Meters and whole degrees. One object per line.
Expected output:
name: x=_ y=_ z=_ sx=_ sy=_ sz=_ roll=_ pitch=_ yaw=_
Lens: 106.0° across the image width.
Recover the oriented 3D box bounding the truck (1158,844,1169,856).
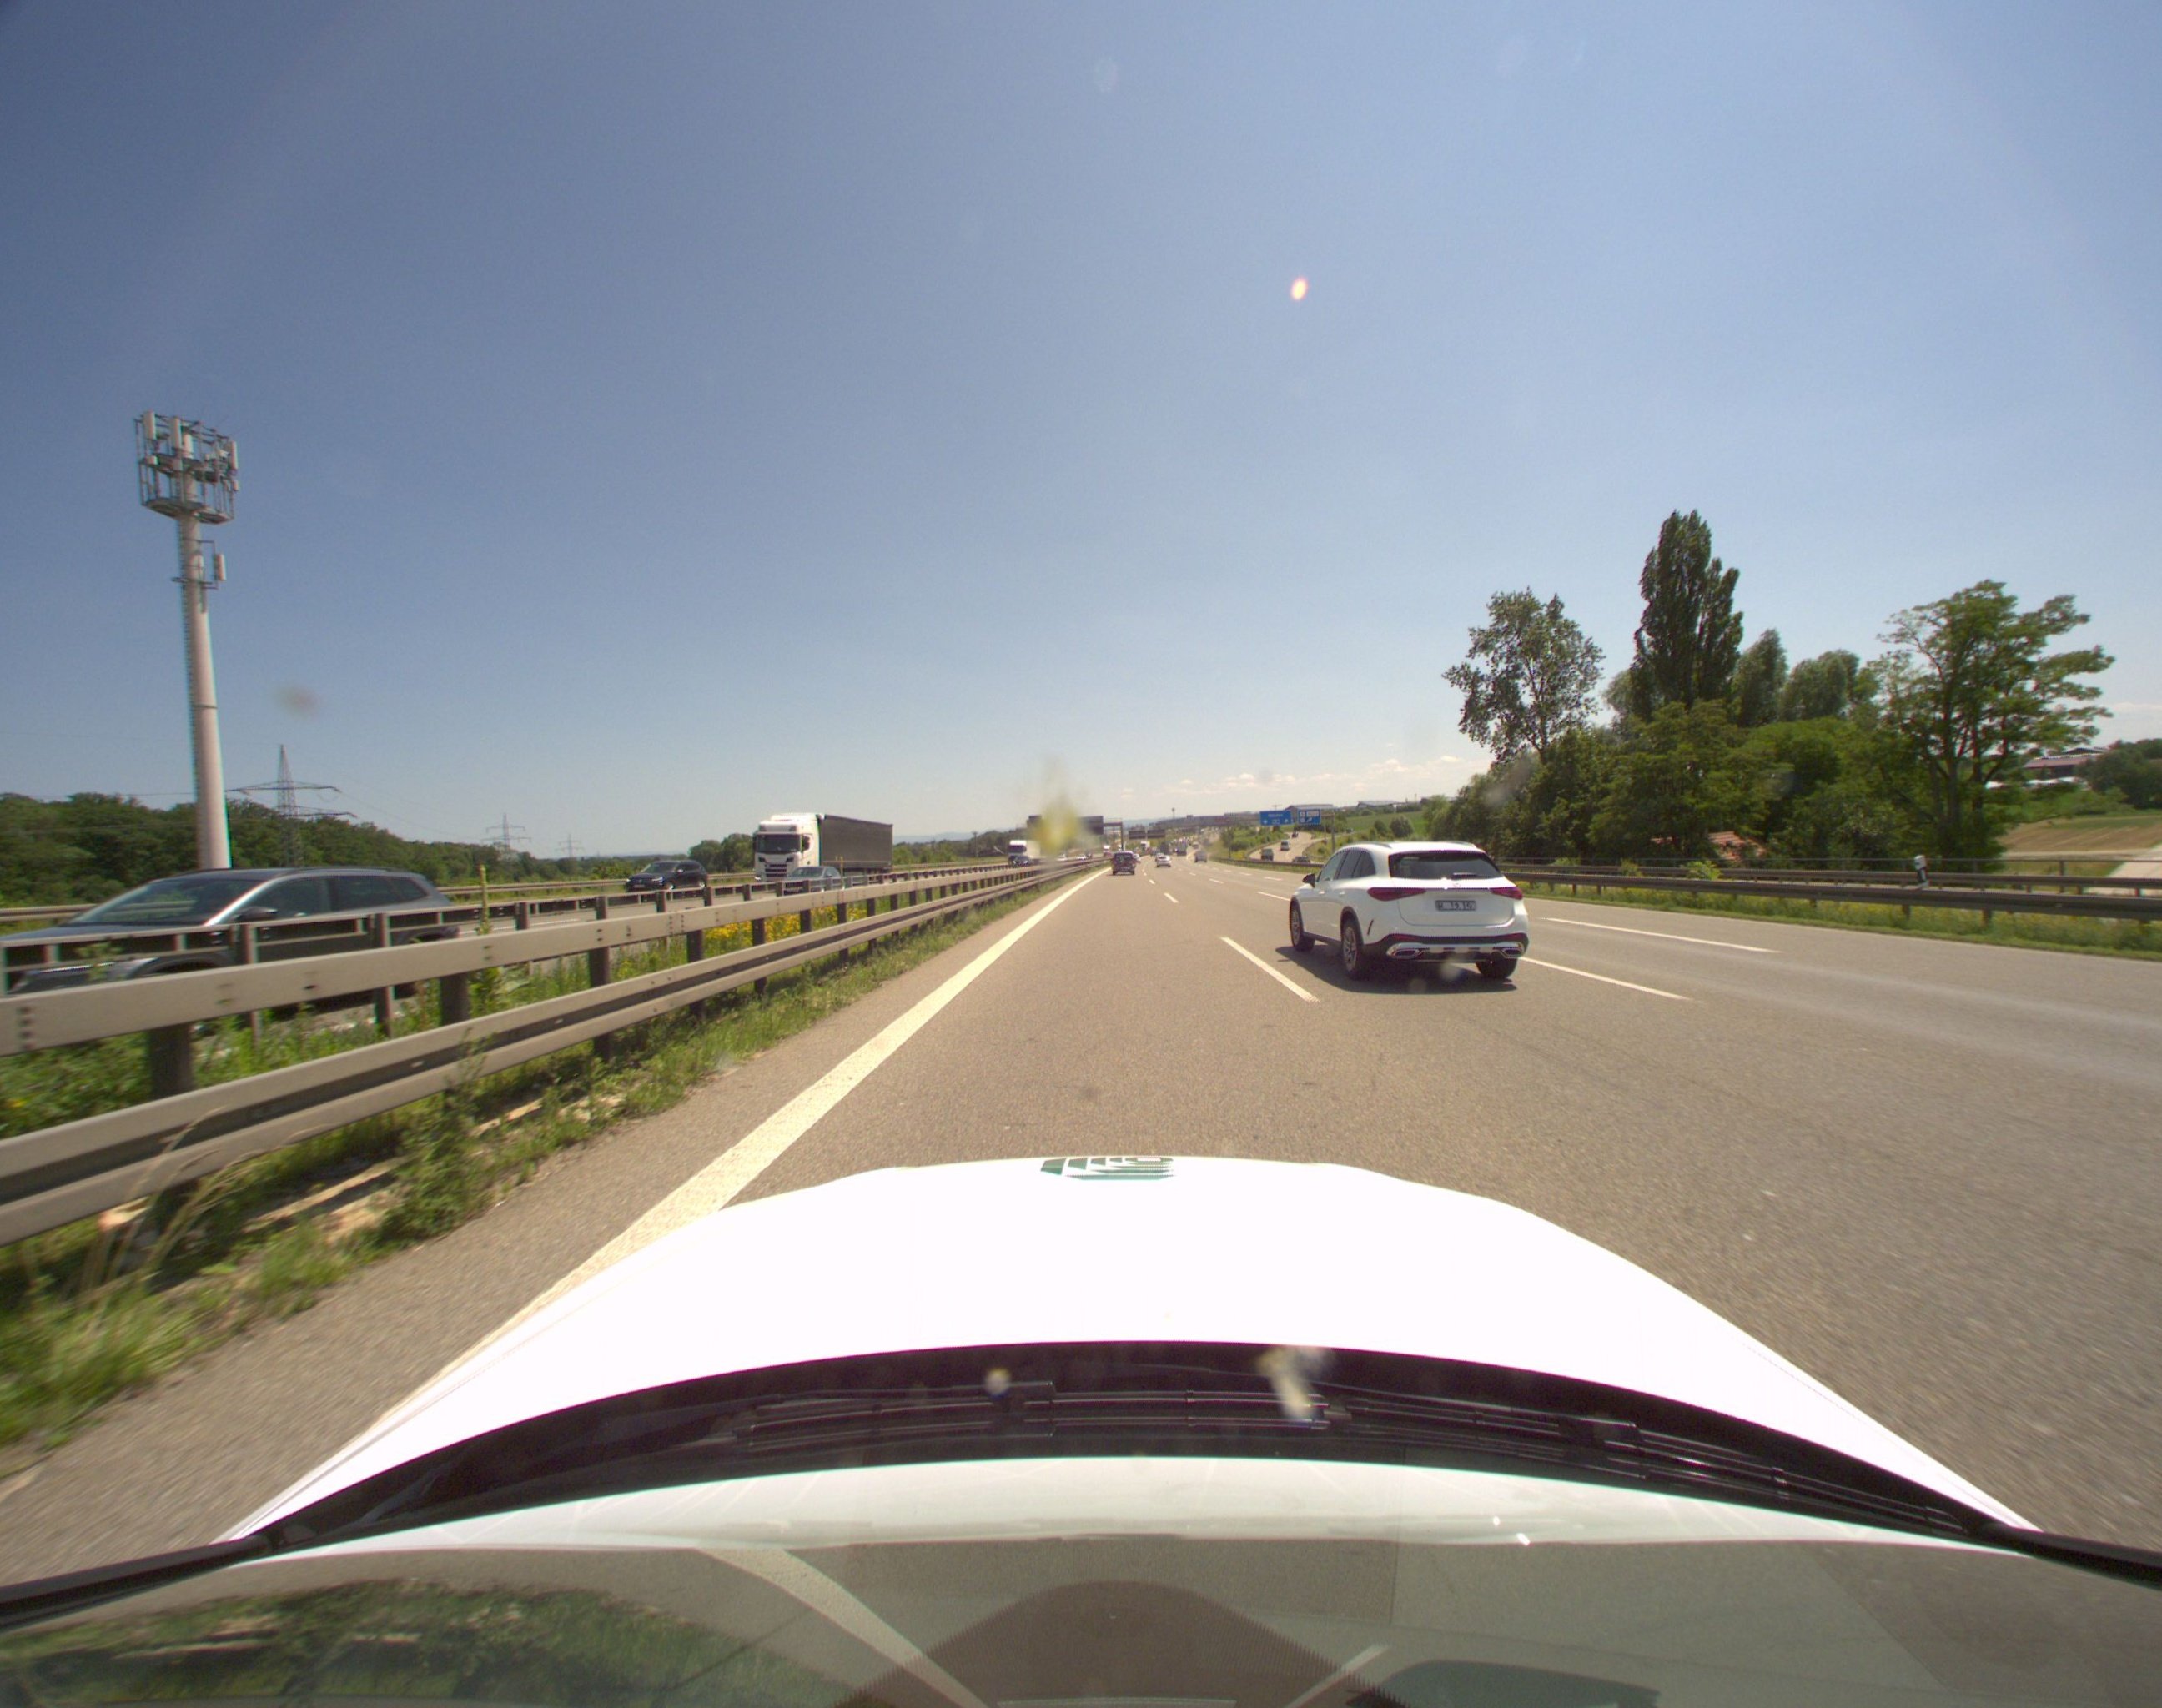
truck: x=21.523 y=-0.971 z=212.418 sx=2.689 sy=3.109 sz=10.677 roll=-1 pitch=0 yaw=6

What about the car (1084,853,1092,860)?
car: x=1.858 y=0.703 z=219.797 sx=1.838 sy=1.655 sz=4.916 roll=-1 pitch=0 yaw=5

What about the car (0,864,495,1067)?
car: x=-8.963 y=0.944 z=8.859 sx=1.840 sy=1.597 sz=4.412 roll=0 pitch=0 yaw=3

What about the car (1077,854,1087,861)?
car: x=0.251 y=0.812 z=177.802 sx=1.650 sy=1.403 sz=4.765 roll=-1 pitch=0 yaw=5

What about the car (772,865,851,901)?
car: x=-11.421 y=1.180 z=34.845 sx=1.699 sy=1.360 sz=4.500 roll=0 pitch=0 yaw=3

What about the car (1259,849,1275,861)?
car: x=32.501 y=0.168 z=142.281 sx=1.985 sy=2.014 sz=4.003 roll=-1 pitch=-1 yaw=3

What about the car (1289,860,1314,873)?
car: x=27.091 y=1.548 z=100.051 sx=1.988 sy=1.596 sz=3.998 roll=-1 pitch=-1 yaw=-1

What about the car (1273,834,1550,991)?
car: x=4.090 y=0.639 z=11.142 sx=1.891 sy=1.647 sz=5.000 roll=-1 pitch=0 yaw=2

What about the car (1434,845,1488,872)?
car: x=23.980 y=0.289 z=51.570 sx=1.692 sy=1.575 sz=4.132 roll=-1 pitch=-1 yaw=4

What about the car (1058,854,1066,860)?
car: x=-5.282 y=0.881 z=225.755 sx=1.838 sy=1.531 sz=4.228 roll=-1 pitch=0 yaw=5

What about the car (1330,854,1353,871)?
car: x=31.246 y=1.011 z=97.664 sx=1.928 sy=1.923 sz=4.188 roll=-1 pitch=-1 yaw=8

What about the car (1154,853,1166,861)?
car: x=15.087 y=0.528 z=155.715 sx=1.970 sy=1.473 sz=4.010 roll=-1 pitch=0 yaw=9

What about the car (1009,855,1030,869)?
car: x=-7.779 y=1.027 z=103.386 sx=1.985 sy=1.644 sz=4.668 roll=-1 pitch=0 yaw=3

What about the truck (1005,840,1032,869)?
truck: x=-9.579 y=0.088 z=125.075 sx=3.021 sy=4.240 sz=6.692 roll=-1 pitch=0 yaw=4

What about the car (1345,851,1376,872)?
car: x=27.523 y=0.741 z=80.332 sx=1.930 sy=1.923 sz=4.184 roll=-1 pitch=-1 yaw=4

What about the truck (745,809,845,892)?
truck: x=-15.187 y=-0.153 z=43.784 sx=2.869 sy=4.117 sz=6.388 roll=0 pitch=0 yaw=3

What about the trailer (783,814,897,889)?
trailer: x=-14.799 y=-0.136 z=51.397 sx=2.878 sy=4.113 sz=12.594 roll=0 pitch=0 yaw=3

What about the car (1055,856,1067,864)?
car: x=-3.531 y=1.040 z=144.255 sx=1.734 sy=1.489 sz=4.011 roll=-1 pitch=0 yaw=4

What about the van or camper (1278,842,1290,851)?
van or camper: x=49.986 y=-1.763 z=200.774 sx=2.514 sy=2.014 sz=4.472 roll=-1 pitch=-1 yaw=9

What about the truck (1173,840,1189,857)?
truck: x=28.604 y=-1.575 z=232.773 sx=4.015 sy=4.261 sz=11.789 roll=-1 pitch=2 yaw=9

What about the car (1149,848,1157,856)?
car: x=20.462 y=-0.510 z=232.738 sx=2.175 sy=2.002 sz=4.008 roll=-1 pitch=2 yaw=6

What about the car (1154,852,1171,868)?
car: x=9.930 y=0.728 z=99.174 sx=1.917 sy=1.919 sz=4.523 roll=-1 pitch=-1 yaw=5

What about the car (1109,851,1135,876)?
car: x=3.288 y=0.749 z=64.336 sx=1.918 sy=1.919 sz=4.953 roll=-1 pitch=-1 yaw=4

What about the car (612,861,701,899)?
car: x=-19.343 y=1.142 z=37.329 sx=1.871 sy=1.613 sz=4.002 roll=-1 pitch=0 yaw=2

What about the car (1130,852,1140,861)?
car: x=8.946 y=0.433 z=134.914 sx=1.568 sy=1.552 sz=3.970 roll=-1 pitch=-1 yaw=6

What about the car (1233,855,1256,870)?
car: x=19.763 y=1.050 z=98.699 sx=1.988 sy=1.690 sz=3.998 roll=-1 pitch=-1 yaw=-1

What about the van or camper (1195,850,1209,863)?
van or camper: x=19.950 y=0.426 z=134.157 sx=2.145 sy=2.014 sz=4.312 roll=-1 pitch=-1 yaw=7
